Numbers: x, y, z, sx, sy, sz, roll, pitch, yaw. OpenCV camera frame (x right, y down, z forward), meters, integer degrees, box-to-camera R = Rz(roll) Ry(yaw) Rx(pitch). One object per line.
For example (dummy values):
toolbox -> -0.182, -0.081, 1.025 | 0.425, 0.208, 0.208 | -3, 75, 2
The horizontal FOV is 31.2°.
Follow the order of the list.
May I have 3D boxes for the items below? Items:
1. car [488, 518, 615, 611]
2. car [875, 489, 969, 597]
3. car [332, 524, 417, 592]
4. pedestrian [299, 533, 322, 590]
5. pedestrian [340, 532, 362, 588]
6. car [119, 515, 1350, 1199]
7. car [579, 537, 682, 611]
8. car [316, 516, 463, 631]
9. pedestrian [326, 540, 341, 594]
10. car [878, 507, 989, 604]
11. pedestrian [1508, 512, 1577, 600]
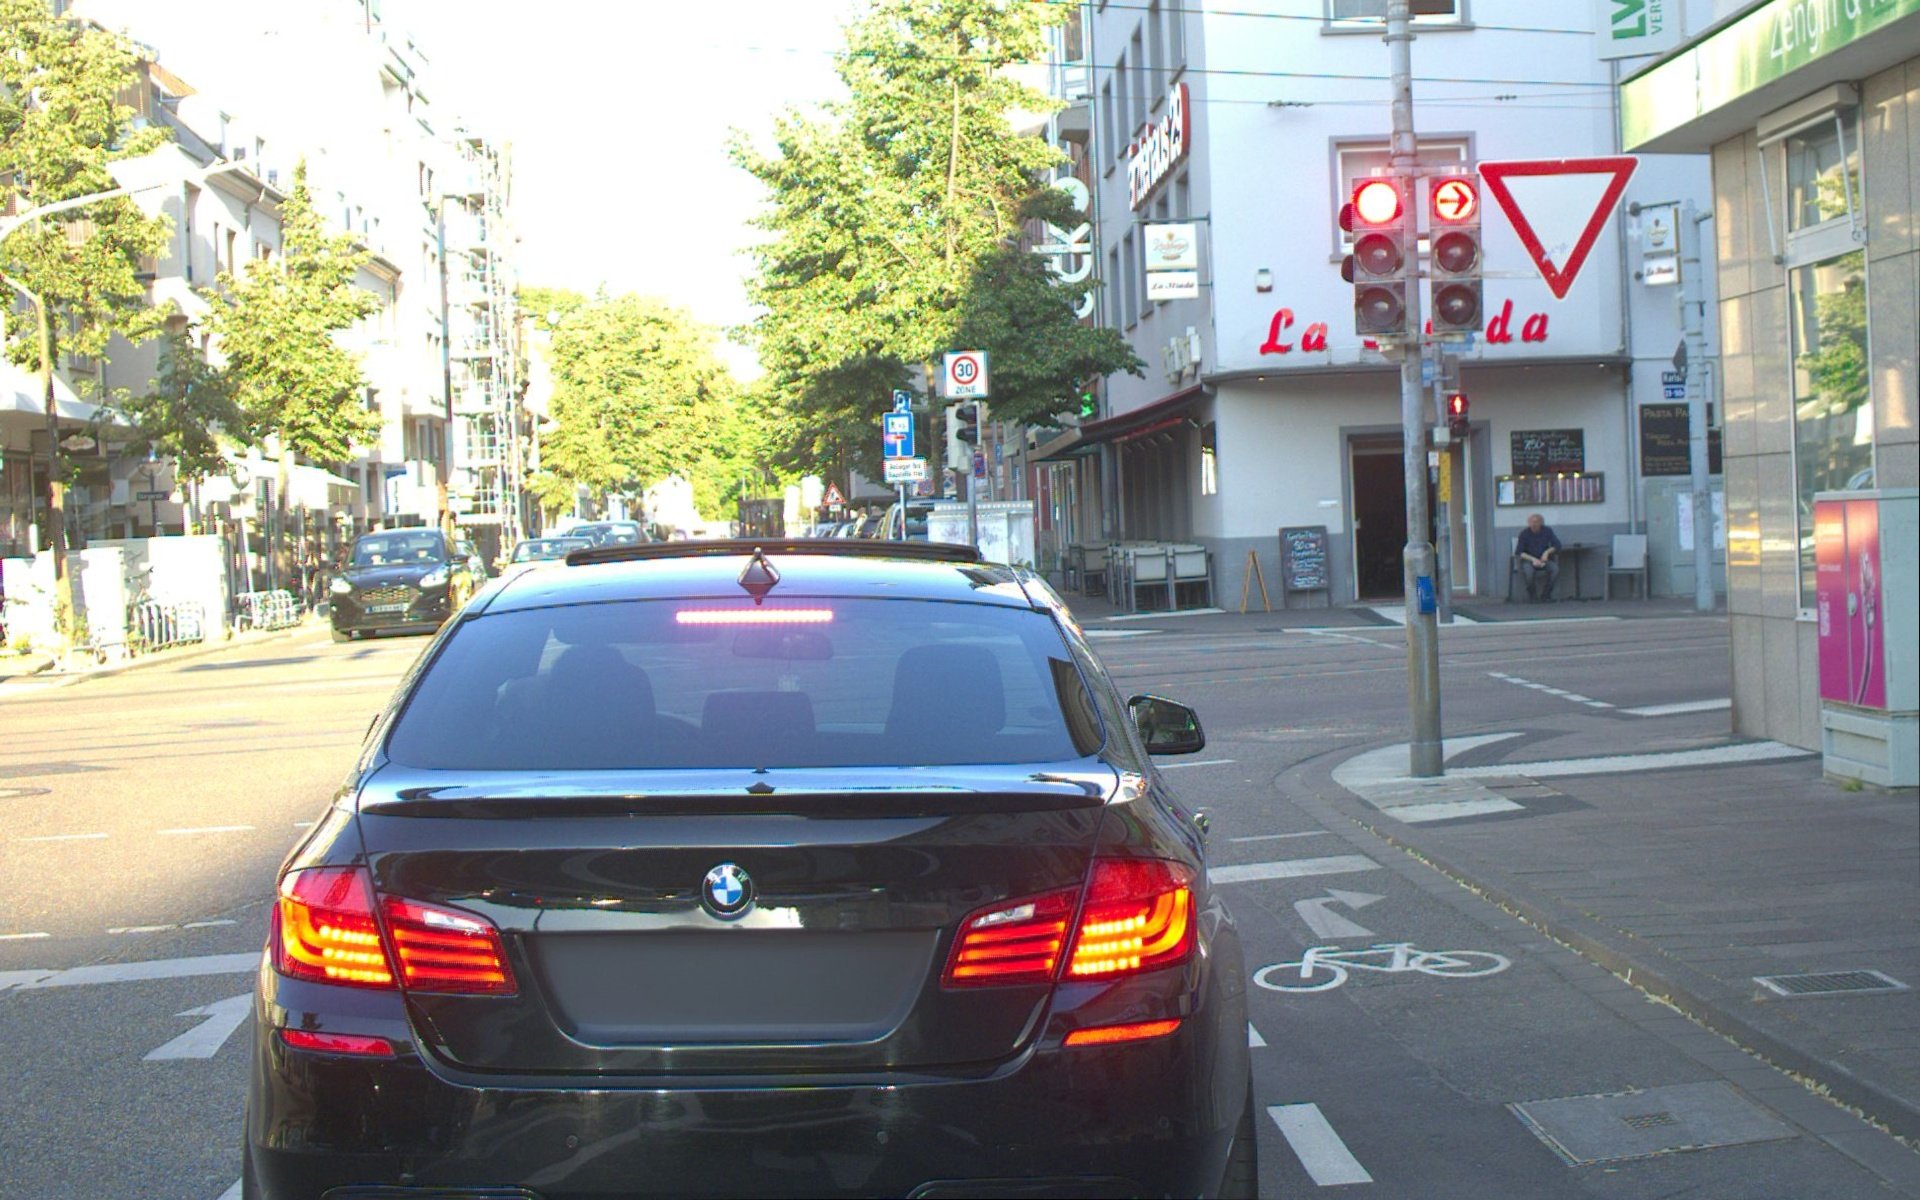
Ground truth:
car -> -6.875, -0.619, 57.670 | 1.993, 1.437, 4.001 | -2, 1, -7
car -> -0.702, -1.014, 60.991 | 1.421, 1.848, 3.053 | -1, 1, -5
car -> -13.430, -0.988, 79.015 | 1.733, 1.456, 4.001 | -2, 1, -7
pedestrian -> -16.366, -0.977, 86.596 | 0.444, 1.411, 0.525 | -2, 1, -4
pedestrian -> -15.369, -1.015, 86.799 | 0.444, 1.411, 0.525 | -2, 1, -4
car -> -0.452, 0.589, 7.570 | 1.903, 1.535, 4.450 | 0, 2, -3
car -> -6.205, -0.510, 64.438 | 1.733, 1.288, 4.001 | -2, 1, -7
car -> -8.623, -0.427, 52.236 | 1.993, 1.612, 4.001 | -2, 1, -7
pedestrian -> -15.848, -0.836, 87.001 | 0.306, 1.354, 0.285 | -3, 1, -10
car -> -0.452, -0.709, 54.595 | 1.625, 1.466, 3.395 | -1, 1, -2
pedestrian -> 7.846, -0.594, 46.319 | 0.697, 1.153, 0.844 | -2, 1, -3
